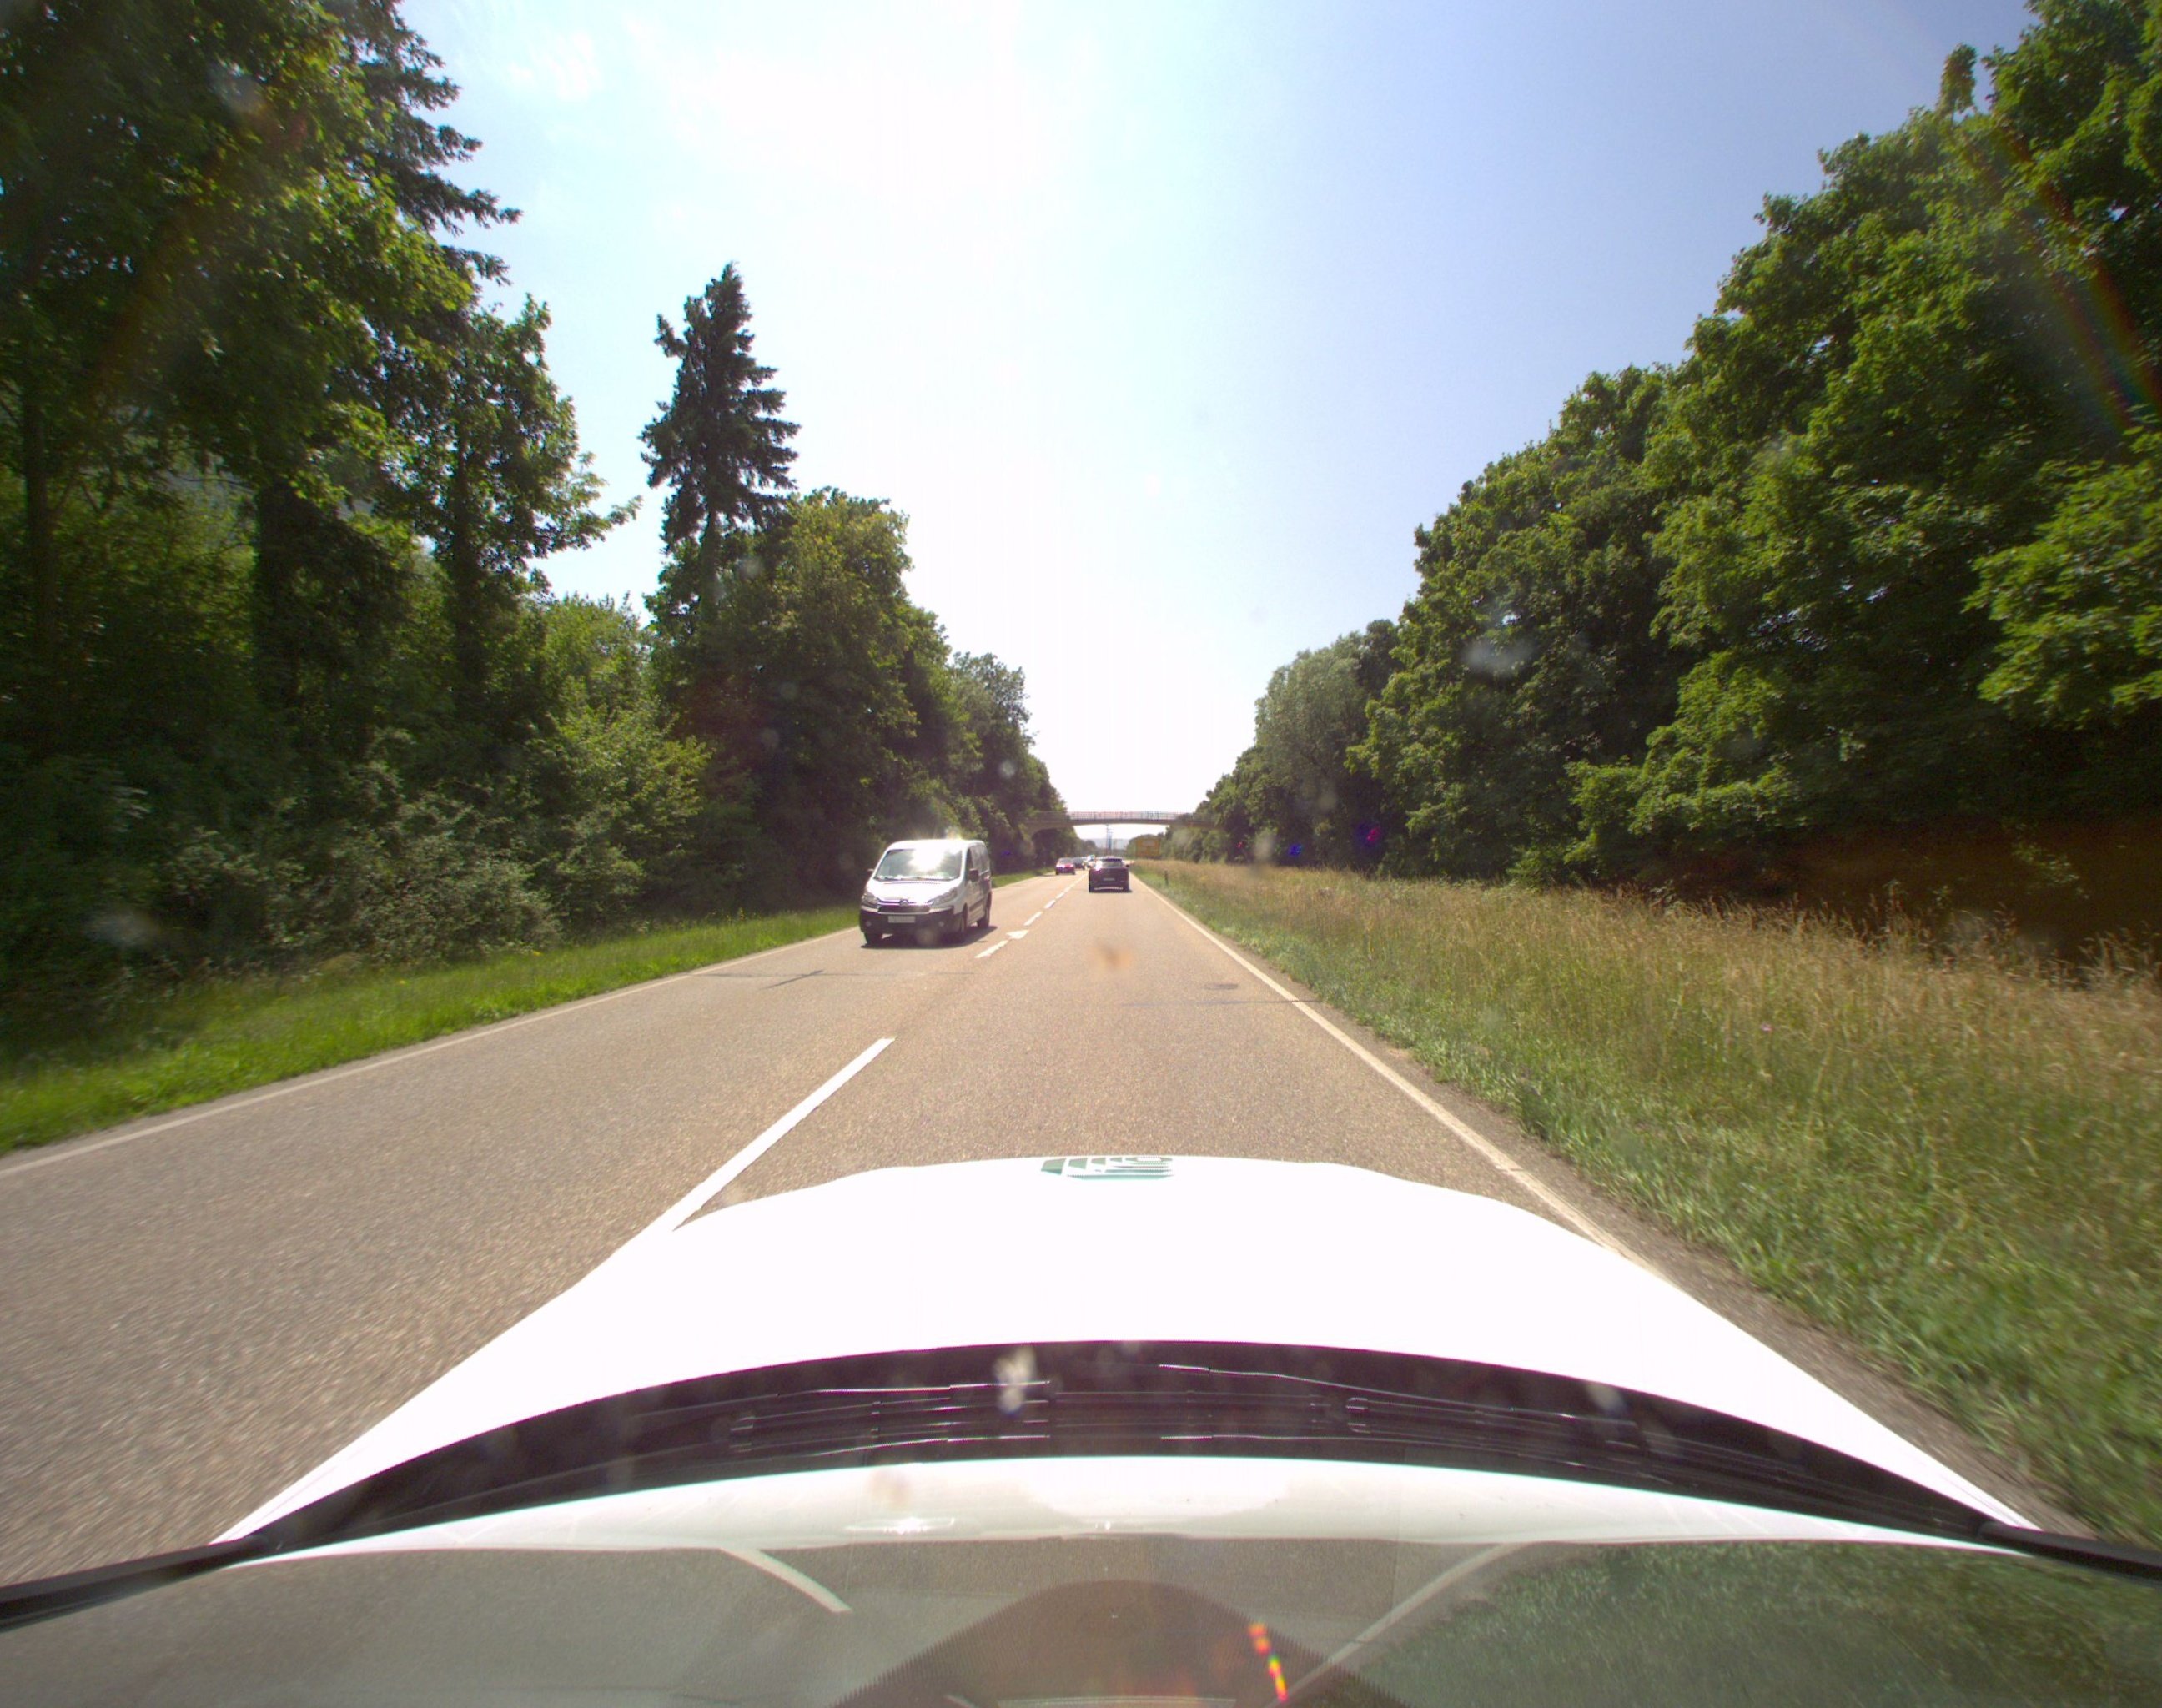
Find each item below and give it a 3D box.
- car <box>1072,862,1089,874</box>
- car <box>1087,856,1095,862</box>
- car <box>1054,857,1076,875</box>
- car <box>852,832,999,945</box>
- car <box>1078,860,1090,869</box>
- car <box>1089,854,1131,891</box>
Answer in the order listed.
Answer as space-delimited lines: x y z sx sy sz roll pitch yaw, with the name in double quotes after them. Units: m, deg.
-0.034 1.723 99.482 1.776 1.449 4.113 -1 0 3 "car"
2.764 1.387 223.619 1.816 1.590 4.421 -2 0 2 "car"
-1.408 1.064 72.891 1.676 1.493 4.002 -1 0 2 "car"
-2.946 0.617 16.564 1.868 1.929 4.989 0 -1 2 "car"
0.496 1.633 131.976 1.670 1.433 3.775 -1 0 3 "car"
1.262 0.813 36.662 1.749 1.556 4.000 1 -1 1 "car"
